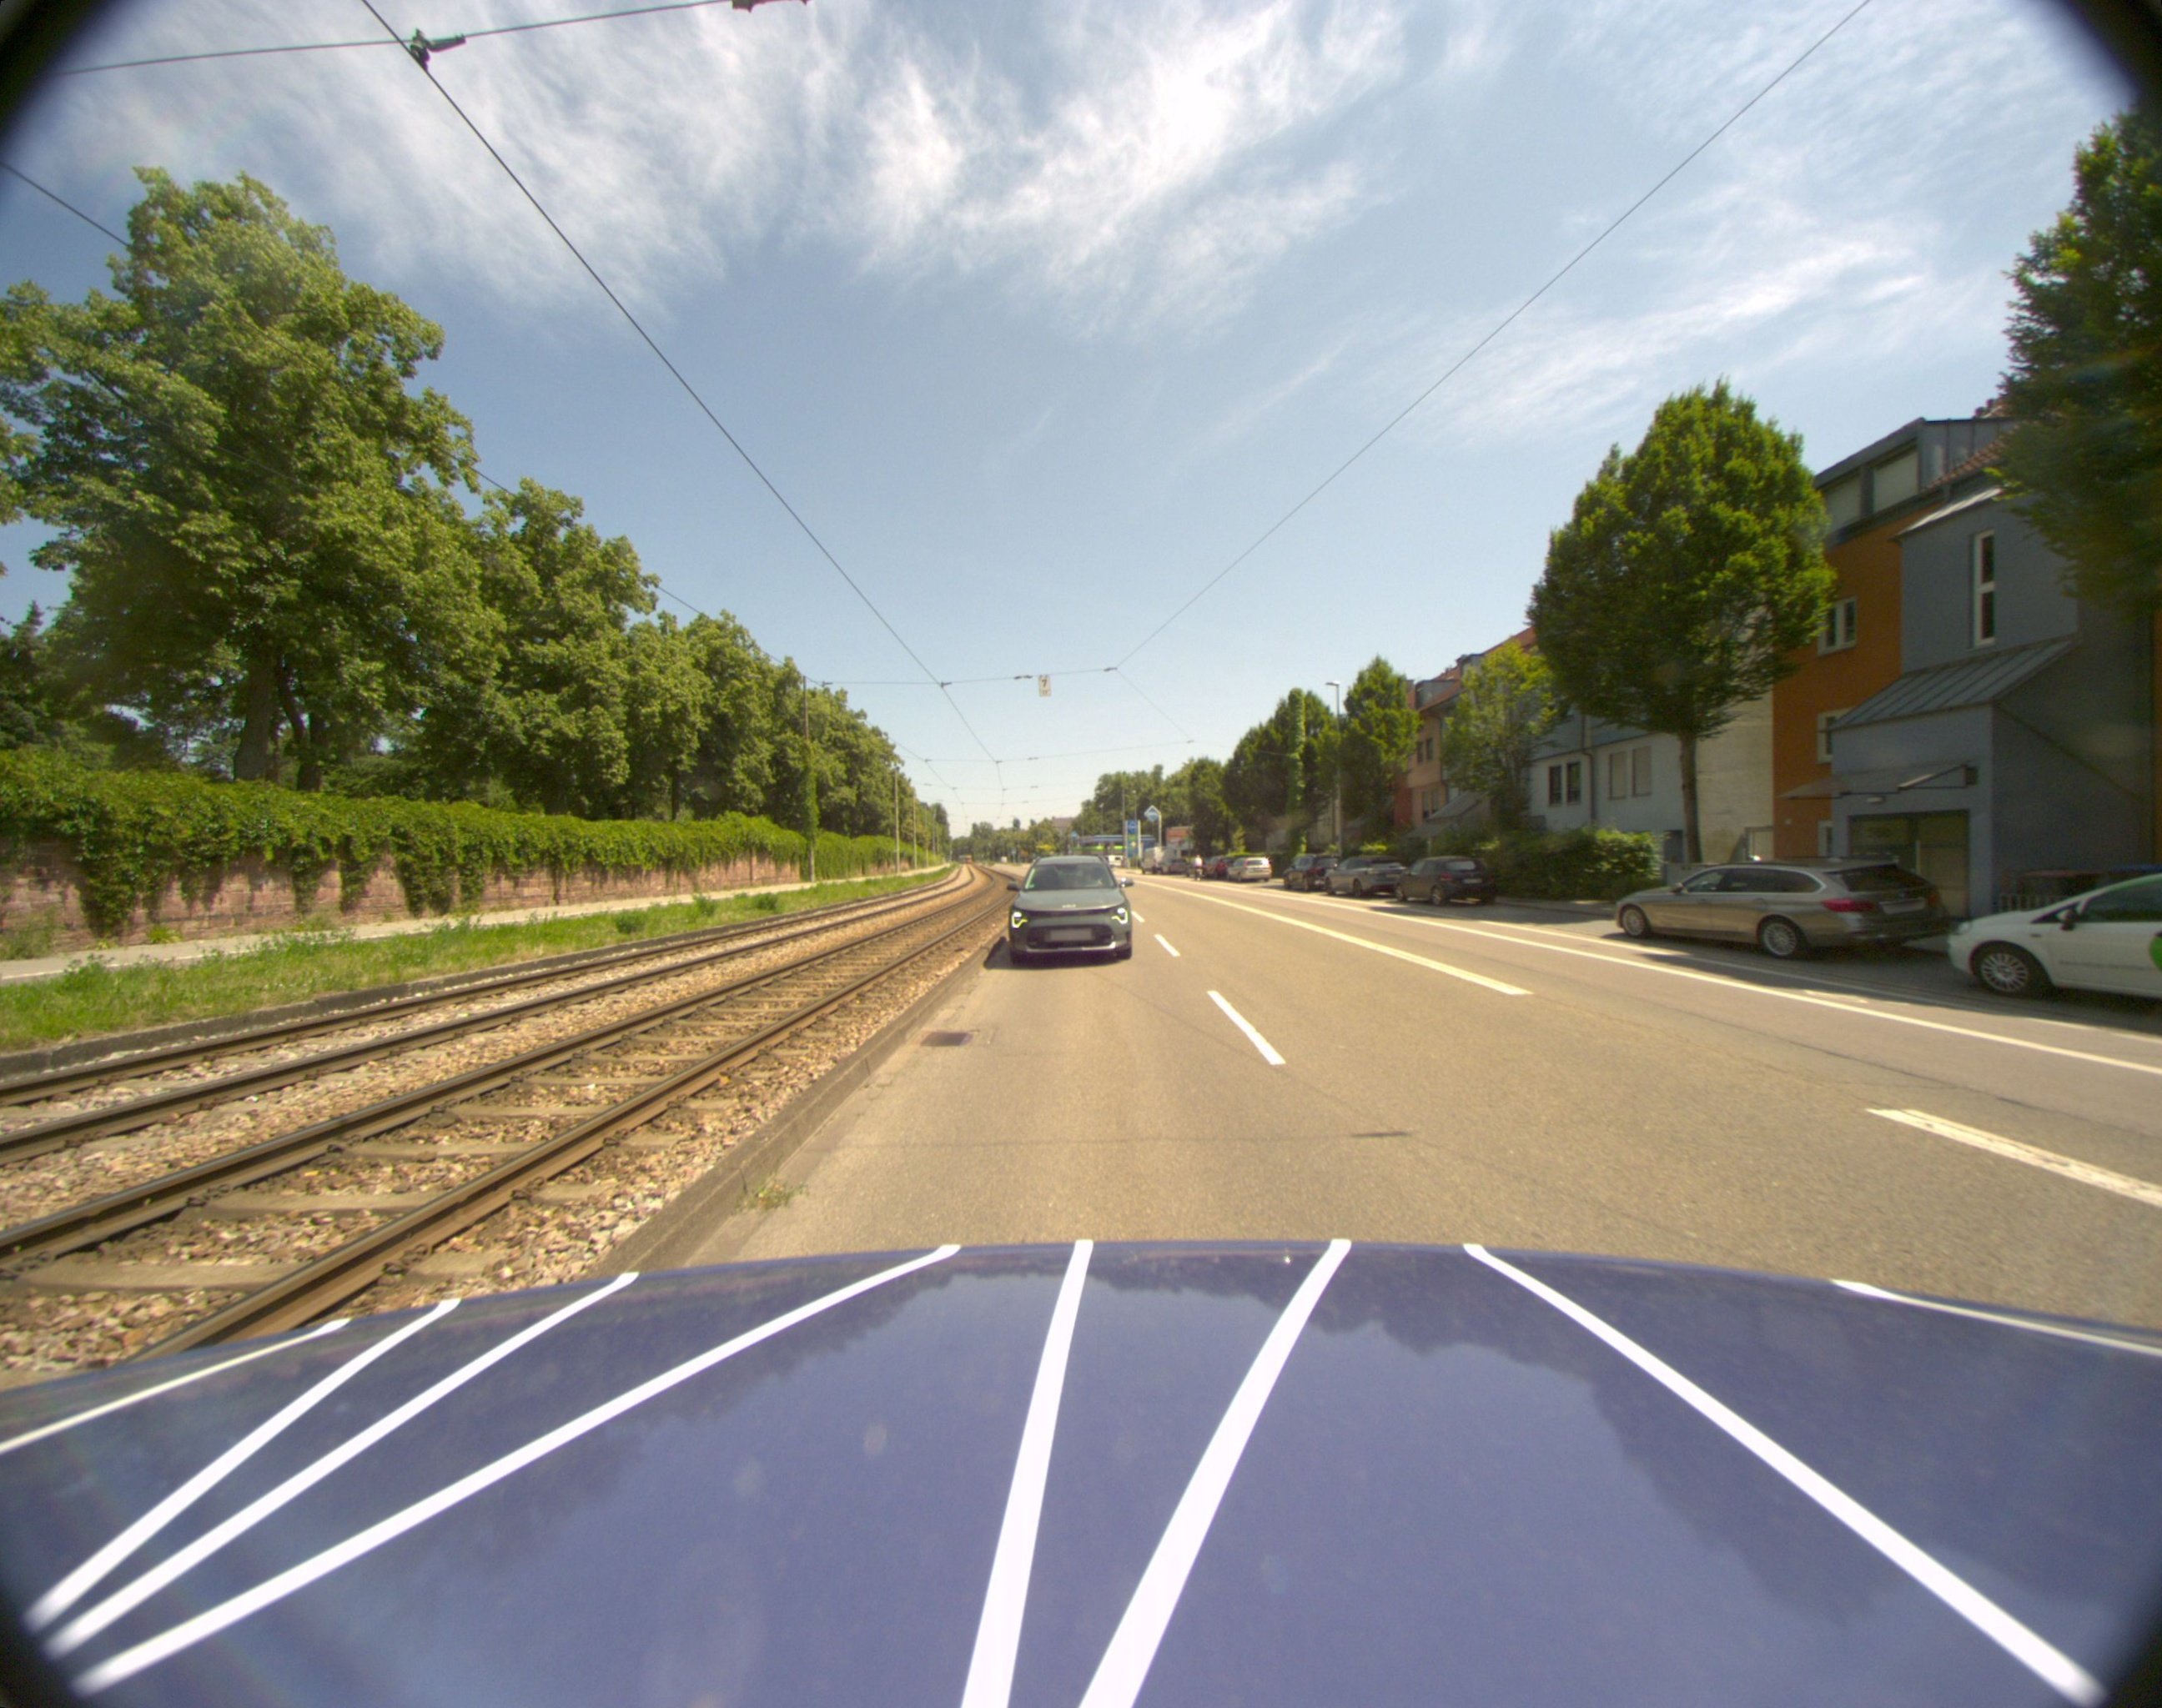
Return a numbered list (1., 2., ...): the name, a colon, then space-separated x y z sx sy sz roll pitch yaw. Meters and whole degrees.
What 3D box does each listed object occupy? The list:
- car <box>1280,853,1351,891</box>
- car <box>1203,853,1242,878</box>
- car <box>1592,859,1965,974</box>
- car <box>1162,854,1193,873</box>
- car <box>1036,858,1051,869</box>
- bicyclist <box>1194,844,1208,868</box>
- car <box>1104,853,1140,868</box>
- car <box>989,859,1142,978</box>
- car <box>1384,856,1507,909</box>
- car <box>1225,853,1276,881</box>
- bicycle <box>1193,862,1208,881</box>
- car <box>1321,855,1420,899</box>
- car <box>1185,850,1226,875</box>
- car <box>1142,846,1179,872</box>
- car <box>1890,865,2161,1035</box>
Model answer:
1. car: 10.718 0.795 34.997 1.772 1.579 4.147 -3 0 -3
2. car: 9.665 0.795 52.213 1.604 1.584 3.680 -3 0 -6
3. car: 11.220 0.872 12.847 1.708 1.421 4.750 -5 0 -3
4. car: 8.361 0.857 66.299 1.870 1.528 4.142 -3 0 -4
5. car: -5.133 1.308 103.450 1.696 1.403 3.513 -2 0 -8
6. bicyclist: 7.612 0.136 48.251 0.737 1.496 0.737 1 1 1
7. car: 6.417 1.056 119.541 5.382 2.085 1.995 -3 1 -28
8. car: -0.118 0.905 12.440 2.062 1.534 4.001 -2 0 3
9. car: 11.283 0.822 23.885 1.754 1.424 4.257 -3 0 0
10. car: 10.262 0.767 46.319 1.845 1.573 4.495 -3 0 -2
11. bicycle: 7.592 1.095 48.280 0.641 1.089 1.639 2 1 1
12. car: 10.964 0.826 29.176 1.830 1.487 4.756 -3 0 -1
13. car: 9.348 0.622 57.421 1.999 1.783 4.556 -1 0 -5
14. car: 7.528 0.470 72.358 2.285 2.294 5.226 -3 0 -8
15. car: 11.120 0.929 7.376 1.750 1.434 4.420 -5 0 0
